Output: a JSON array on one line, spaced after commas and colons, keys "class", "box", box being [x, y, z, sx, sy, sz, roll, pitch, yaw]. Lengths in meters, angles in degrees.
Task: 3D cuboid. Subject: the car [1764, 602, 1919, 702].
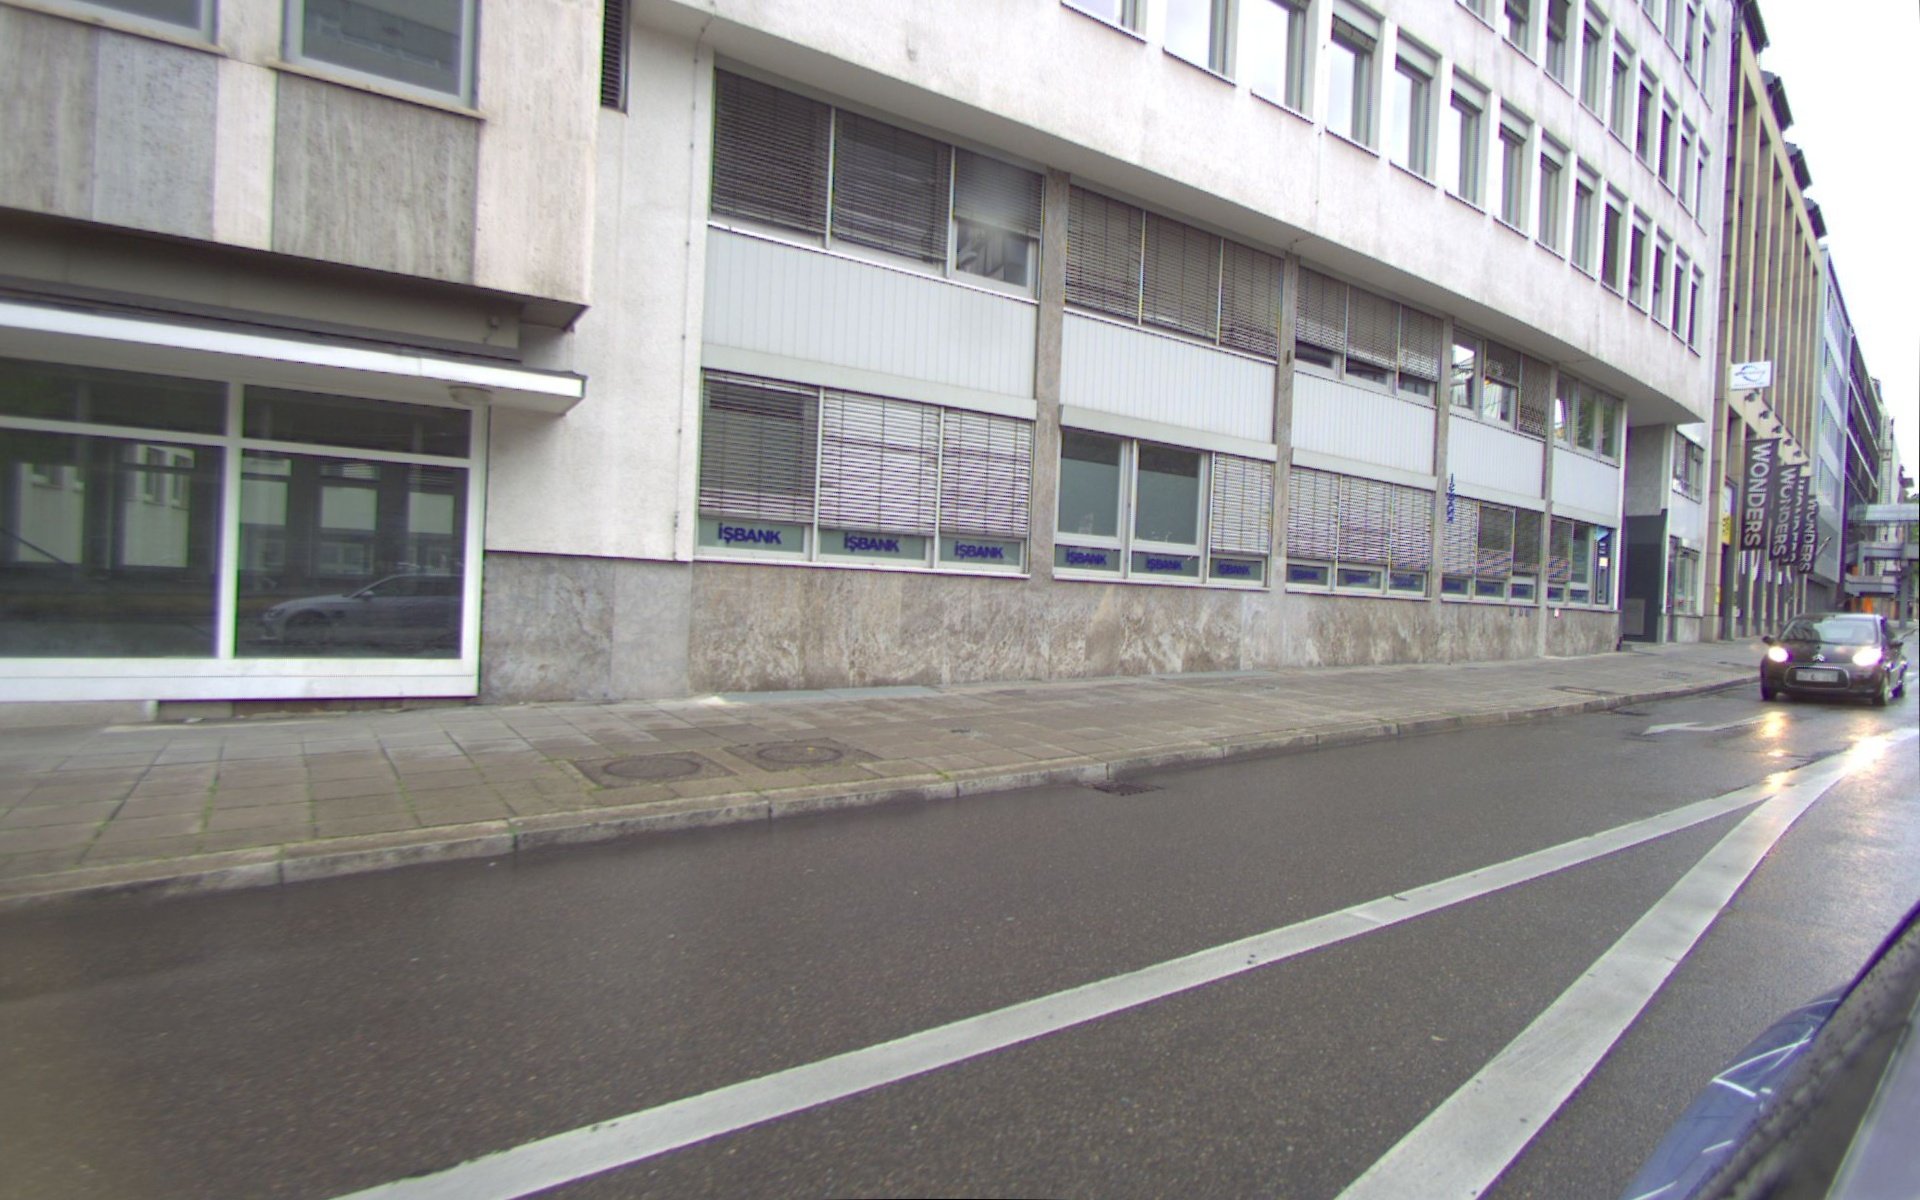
[{"class": "car", "box": [15.031, 0.806, 17.125, 3.423, 1.491, 1.665, 1, 0, -41]}]
